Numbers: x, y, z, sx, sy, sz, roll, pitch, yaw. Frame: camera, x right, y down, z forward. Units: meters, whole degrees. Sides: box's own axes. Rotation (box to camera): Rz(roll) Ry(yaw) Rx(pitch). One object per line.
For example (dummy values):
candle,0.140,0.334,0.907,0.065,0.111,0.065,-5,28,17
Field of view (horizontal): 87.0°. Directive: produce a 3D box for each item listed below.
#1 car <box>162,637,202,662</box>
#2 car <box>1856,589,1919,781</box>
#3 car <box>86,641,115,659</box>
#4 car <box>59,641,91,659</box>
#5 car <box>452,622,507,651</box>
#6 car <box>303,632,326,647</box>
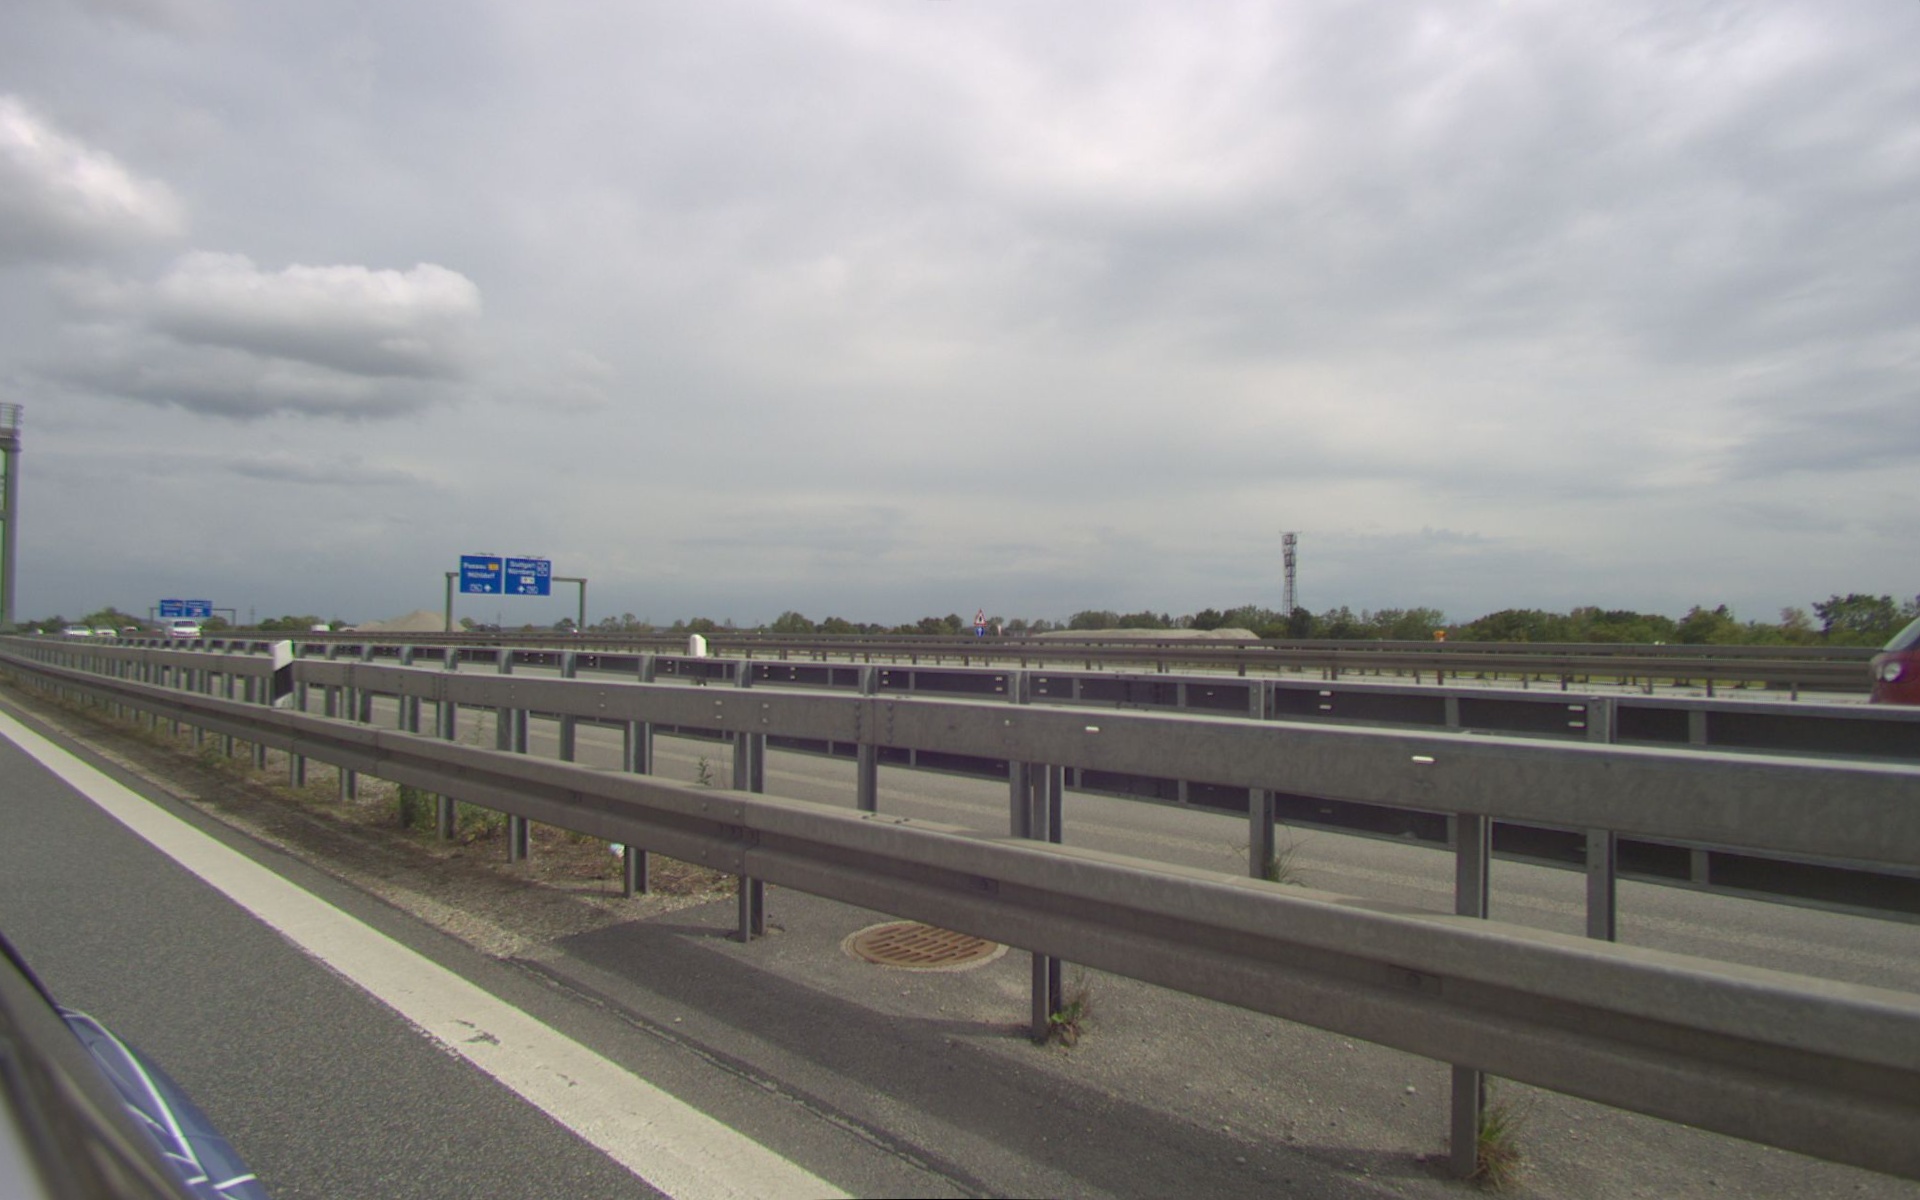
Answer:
car,-65.120,4.152,84.678,4.466,2.029,1.971,-3,-2,44
car,9.705,0.617,7.633,4.353,1.557,1.800,-3,-2,42
car,-98.047,5.719,115.410,3.998,1.896,1.972,-3,-2,42
car,-88.327,4.999,100.980,3.998,1.763,1.972,-3,-2,42
car,-34.709,2.647,73.066,4.504,1.876,1.972,-3,1,43
car,-101.184,6.197,158.542,4.490,2.323,1.971,-3,-2,43
